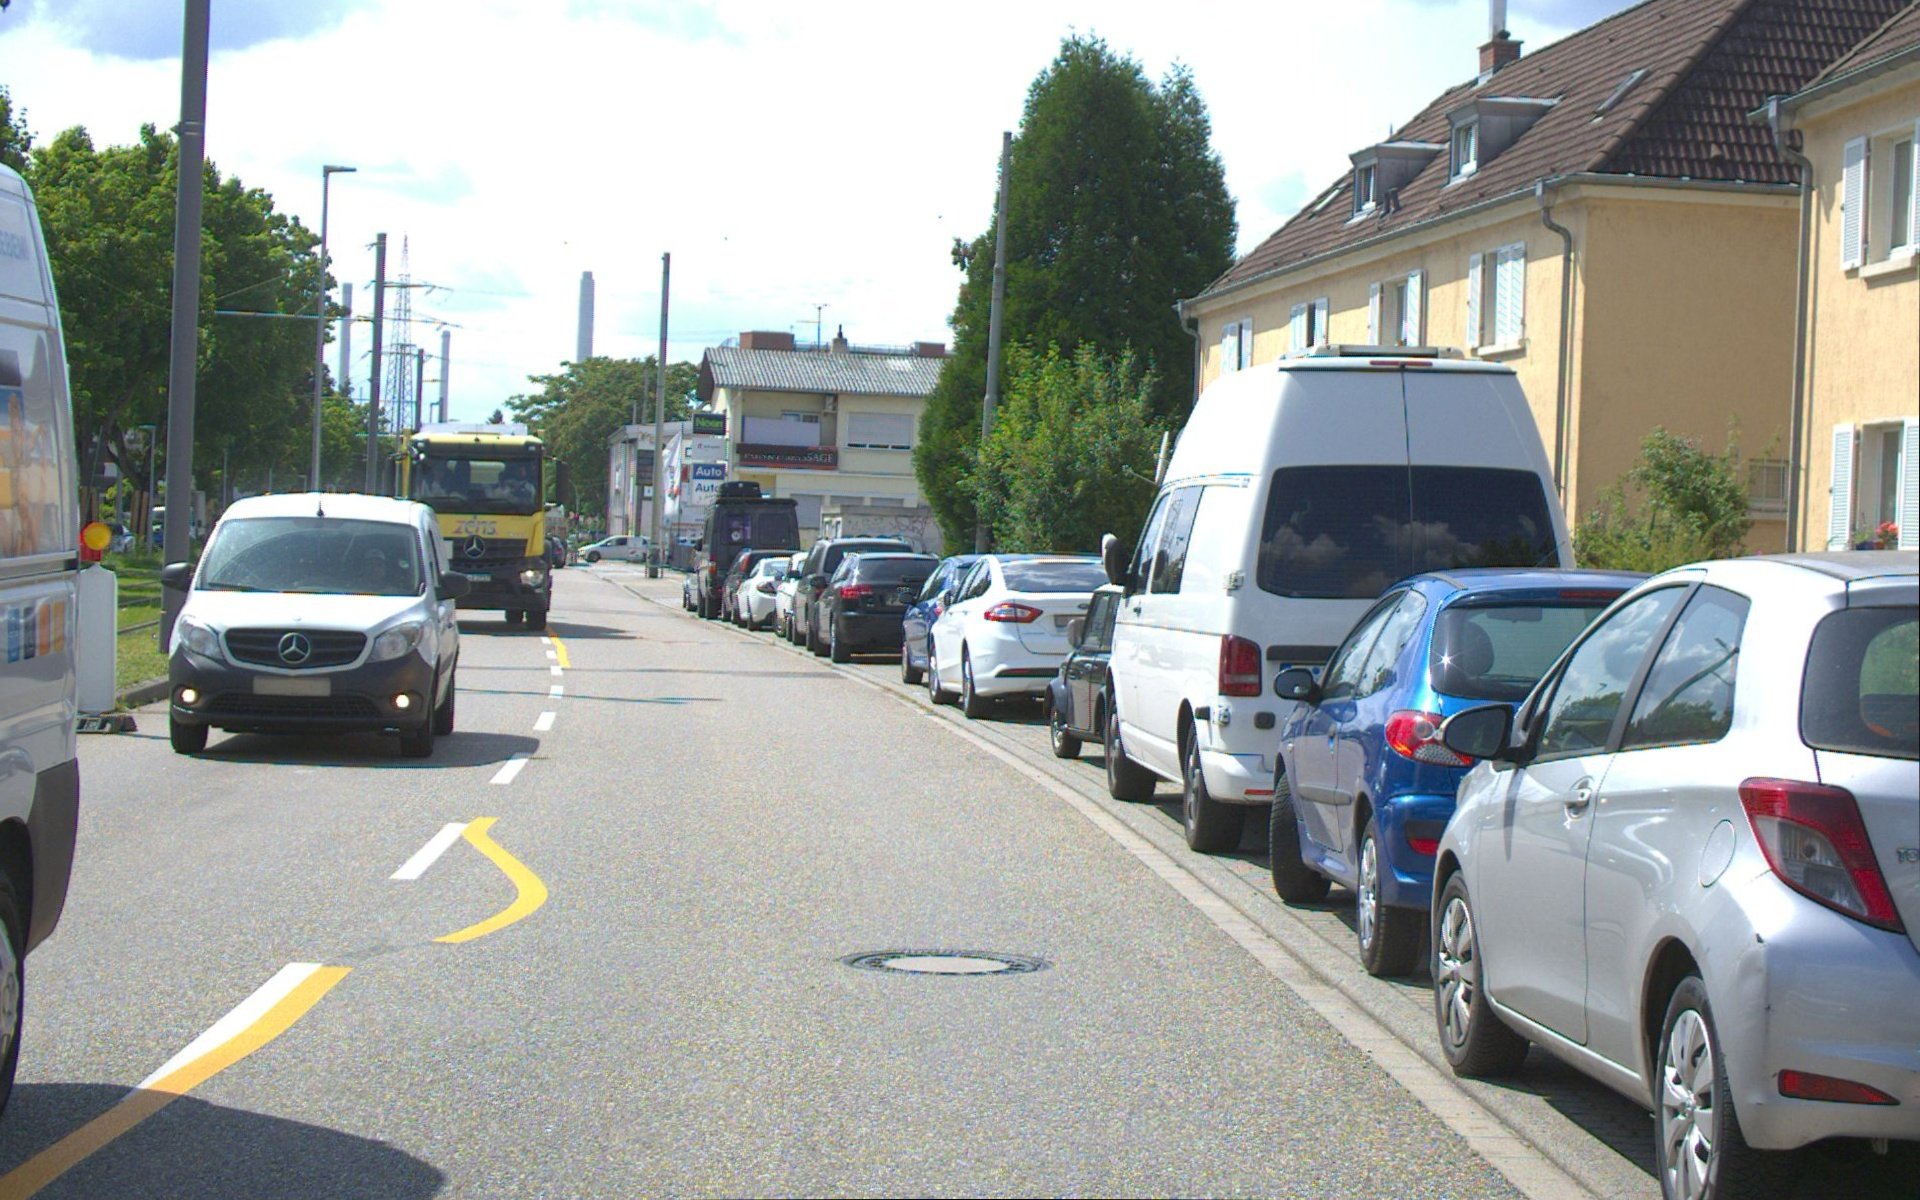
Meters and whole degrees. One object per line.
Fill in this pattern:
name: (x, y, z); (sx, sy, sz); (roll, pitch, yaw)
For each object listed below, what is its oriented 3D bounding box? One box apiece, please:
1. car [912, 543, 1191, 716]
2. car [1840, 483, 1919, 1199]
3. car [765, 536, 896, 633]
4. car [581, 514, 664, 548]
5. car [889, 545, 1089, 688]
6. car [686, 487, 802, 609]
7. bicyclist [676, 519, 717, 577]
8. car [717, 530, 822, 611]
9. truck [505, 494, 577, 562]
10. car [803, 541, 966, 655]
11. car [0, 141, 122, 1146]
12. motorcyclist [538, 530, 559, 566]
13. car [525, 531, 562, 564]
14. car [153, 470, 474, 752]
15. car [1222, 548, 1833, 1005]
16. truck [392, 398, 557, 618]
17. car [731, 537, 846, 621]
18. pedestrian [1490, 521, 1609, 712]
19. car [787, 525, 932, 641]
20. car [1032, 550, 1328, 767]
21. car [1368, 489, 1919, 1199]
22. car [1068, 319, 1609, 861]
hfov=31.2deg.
car: (0.748, 0.226, 31.473); (1.798, 1.453, 4.766); (0, 1, -8)
car: (2.645, 0.663, 4.546); (1.636, 1.597, 3.932); (2, 1, -5)
car: (-2.133, -0.279, 55.738); (1.763, 1.471, 4.001); (0, 1, -7)
car: (-19.939, -4.054, 202.824); (4.640, 1.816, 1.836); (2, 1, -12)
car: (0.255, 0.134, 36.940); (1.620, 1.412, 4.001); (0, 1, -7)
car: (-4.638, -1.136, 73.065); (1.959, 2.470, 6.062); (0, 1, -8)
bicyclist: (-7.340, -1.441, 95.719); (0.994, 1.564, 1.140); (2, 1, -10)
car: (-3.743, -0.589, 66.907); (1.763, 1.497, 4.001); (0, 1, -7)
truck: (-22.255, -3.782, 182.140); (3.220, 3.390, 11.357); (2, 1, -9)
car: (-1.051, -0.057, 45.769); (1.763, 1.412, 4.001); (0, 1, -7)
car: (-3.269, 0.121, 6.771); (2.102, 2.435, 5.572); (2, 1, -4)
motorcyclist: (-19.162, -2.423, 160.006); (0.883, 1.661, 1.109); (2, 1, -8)
car: (-20.014, -2.517, 165.133); (1.568, 1.493, 4.150); (2, 1, -9)
car: (-4.515, 0.021, 24.567); (1.734, 1.767, 4.309); (2, 1, -5)
car: (2.040, 0.566, 13.353); (1.536, 1.440, 3.738); (3, 1, -3)
truck: (-8.145, -1.526, 57.762); (2.559, 3.447, 7.152); (0, 1, -8)
car: (-3.114, -0.407, 61.897); (1.763, 1.435, 4.001); (0, 1, -7)
pedestrian: (5.257, 0.140, 30.676); (0.853, 1.646, 0.637); (3, 1, -2)
car: (-1.525, -0.282, 50.859); (1.763, 1.637, 4.001); (0, 1, -7)
car: (1.444, 0.356, 23.591); (1.341, 1.336, 3.289); (2, 0, -8)
car: (2.214, 0.573, 8.729); (1.636, 1.597, 4.030); (3, 1, -3)
car: (1.844, -0.092, 18.706); (1.929, 2.472, 5.518); (1, 1, -4)
